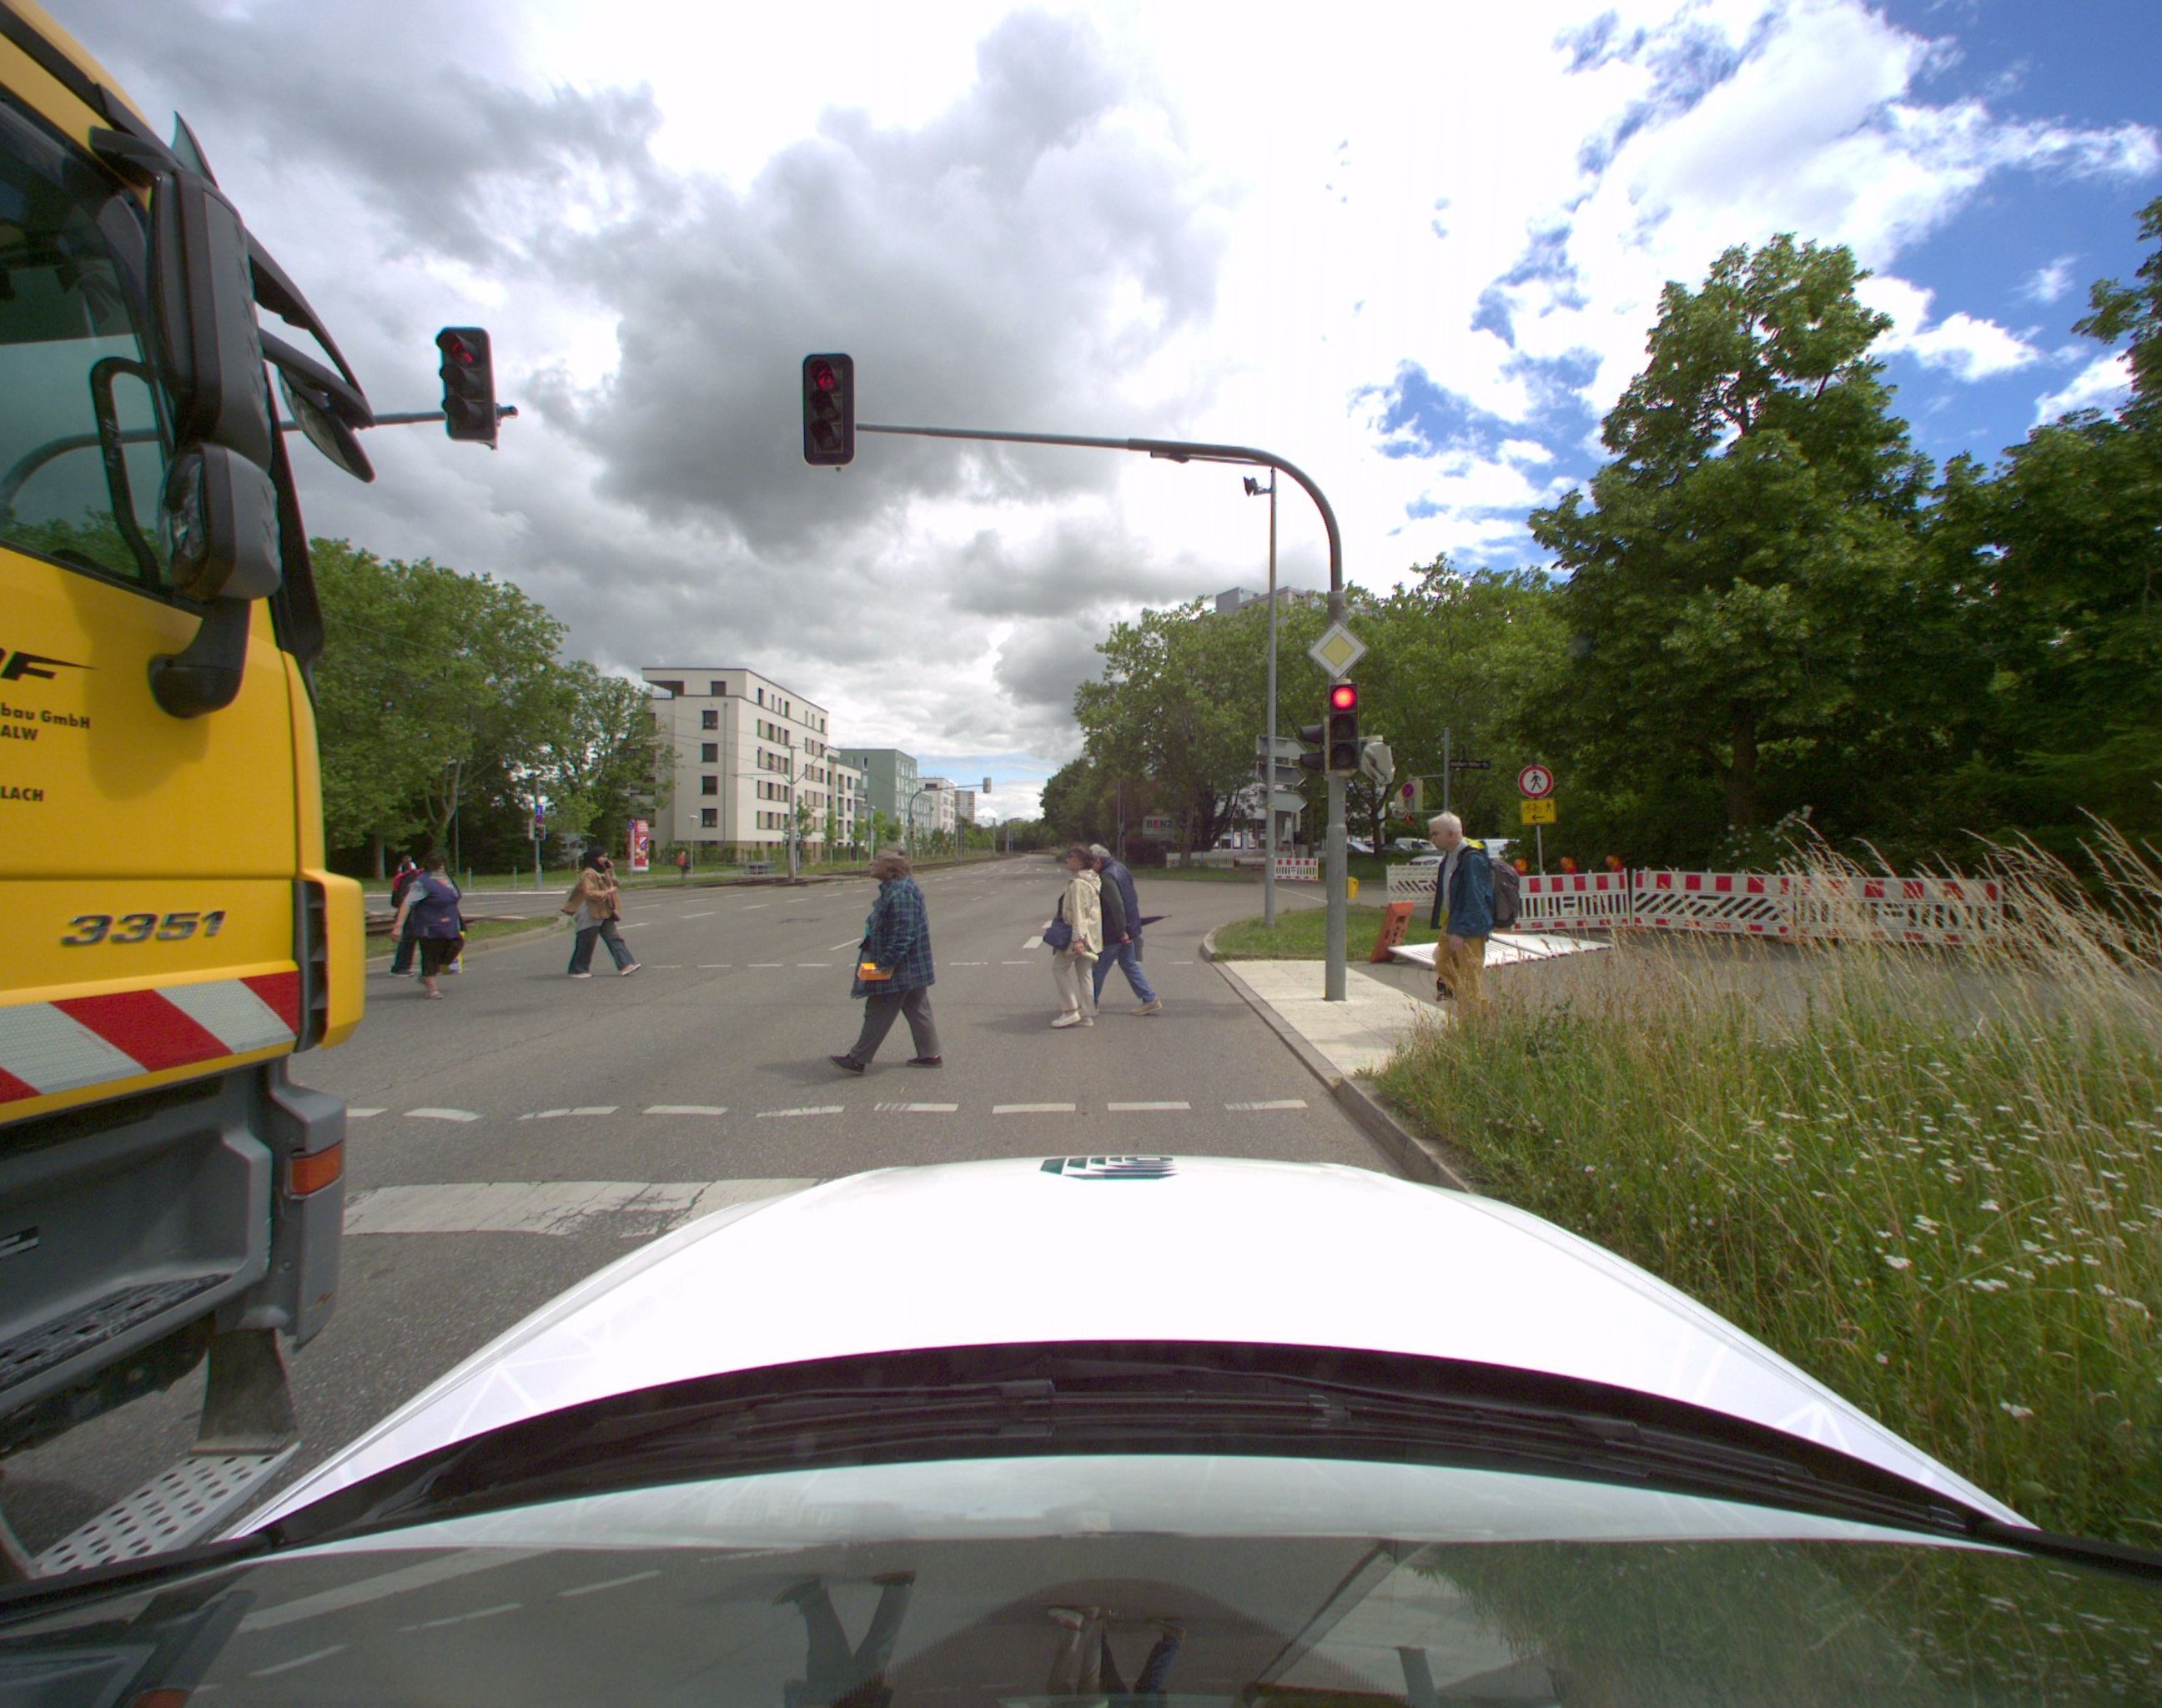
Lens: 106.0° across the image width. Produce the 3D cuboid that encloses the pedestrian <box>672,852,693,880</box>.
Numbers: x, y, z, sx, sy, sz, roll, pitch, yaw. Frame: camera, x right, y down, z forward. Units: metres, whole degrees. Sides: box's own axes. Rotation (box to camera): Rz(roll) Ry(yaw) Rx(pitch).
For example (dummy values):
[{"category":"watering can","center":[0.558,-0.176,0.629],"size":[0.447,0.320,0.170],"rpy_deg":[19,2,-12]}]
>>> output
[{"category":"pedestrian","center":[-21.654,0.630,44.277],"size":[0.827,1.516,0.636],"rpy_deg":[-1,0,1]}]

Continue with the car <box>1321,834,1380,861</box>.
[{"category":"car","center":[20.568,-0.485,62.252],"size":[2.006,2.013,3.962],"rpy_deg":[-1,0,-29]}]

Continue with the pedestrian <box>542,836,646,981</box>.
[{"category":"pedestrian","center":[-6.102,0.661,10.246],"size":[0.779,1.742,0.829],"rpy_deg":[-1,0,2]}]

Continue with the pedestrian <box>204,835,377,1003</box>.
[{"category":"pedestrian","center":[-8.807,0.689,9.127],"size":[0.998,1.773,0.930],"rpy_deg":[-1,0,2]}]

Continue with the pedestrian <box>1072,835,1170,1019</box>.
[{"category":"pedestrian","center":[0.355,0.652,7.703],"size":[0.866,1.634,0.765],"rpy_deg":[-1,0,-1]}]

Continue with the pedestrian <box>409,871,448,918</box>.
[{"category":"pedestrian","center":[-23.890,1.461,29.805],"size":[1.075,1.648,0.700],"rpy_deg":[-1,0,-40]}]

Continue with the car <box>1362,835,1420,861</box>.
[{"category":"car","center":[24.599,-0.493,64.733],"size":[2.006,2.013,3.962],"rpy_deg":[-1,0,-29]}]

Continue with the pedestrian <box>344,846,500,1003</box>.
[{"category":"pedestrian","center":[-7.111,0.723,8.845],"size":[0.909,1.607,0.930],"rpy_deg":[-1,0,2]}]

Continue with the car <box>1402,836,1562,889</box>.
[{"category":"car","center":[14.913,0.304,30.457],"size":[5.063,1.874,1.947],"rpy_deg":[-1,0,-2]}]

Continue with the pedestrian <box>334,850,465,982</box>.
[{"category":"pedestrian","center":[-8.669,0.750,10.405],"size":[0.890,1.596,0.907],"rpy_deg":[-1,0,-2]}]

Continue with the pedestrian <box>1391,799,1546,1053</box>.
[{"category":"pedestrian","center":[2.975,0.502,6.332],"size":[1.000,1.774,0.954],"rpy_deg":[-1,0,23]}]

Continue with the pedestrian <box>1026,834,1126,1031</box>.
[{"category":"pedestrian","center":[-0.044,0.655,7.185],"size":[0.820,1.640,0.733],"rpy_deg":[-1,0,-1]}]

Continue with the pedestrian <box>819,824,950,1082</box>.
[{"category":"pedestrian","center":[-1.357,0.639,5.730],"size":[0.822,1.671,0.731],"rpy_deg":[-1,0,-11]}]

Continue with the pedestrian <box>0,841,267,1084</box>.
[{"category":"pedestrian","center":[-6.927,0.740,5.994],"size":[0.955,1.648,0.881],"rpy_deg":[-1,0,2]}]

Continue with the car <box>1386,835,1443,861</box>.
[{"category":"car","center":[27.314,-0.497,66.866],"size":[2.006,2.013,3.962],"rpy_deg":[-1,0,-29]}]
